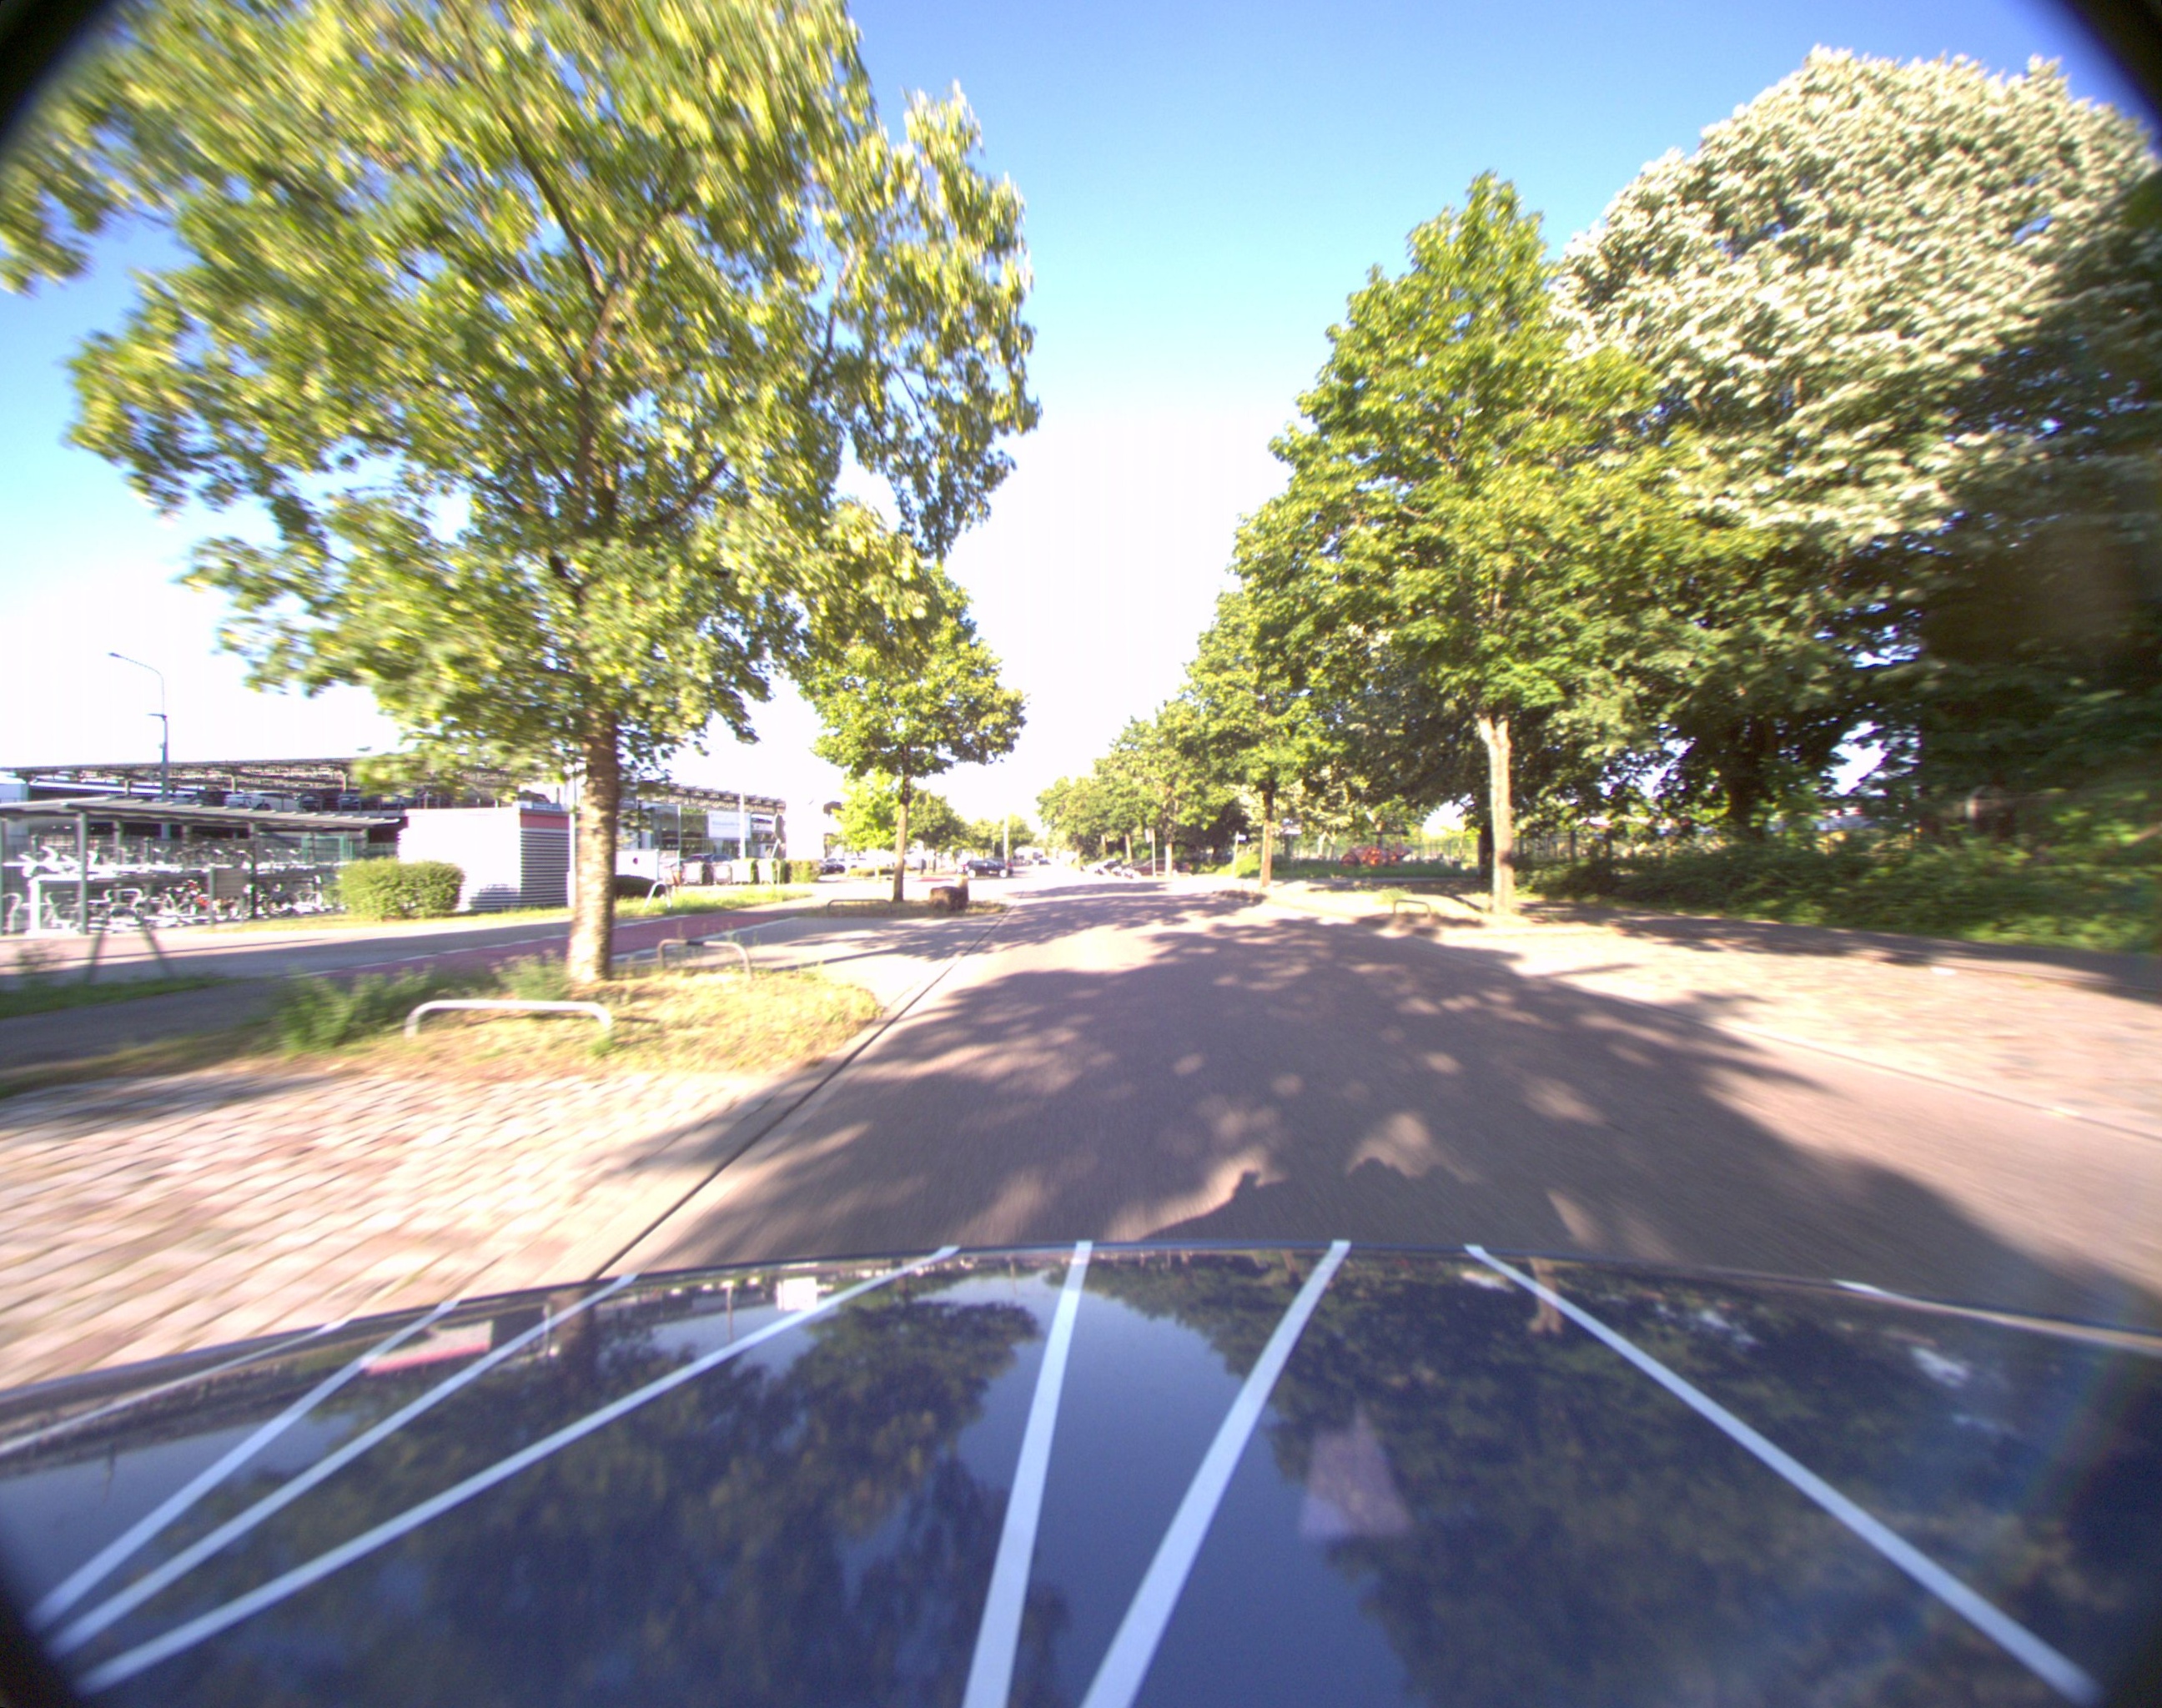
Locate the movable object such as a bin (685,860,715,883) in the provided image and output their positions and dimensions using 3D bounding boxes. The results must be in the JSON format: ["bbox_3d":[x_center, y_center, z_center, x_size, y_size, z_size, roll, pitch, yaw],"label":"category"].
[{"bbox_3d":[-21.285,0.953,42.422,1.120,1.260,1.038,-1,0,0],"label":"movable object such as a bin"}]

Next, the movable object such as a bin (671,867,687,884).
[{"bbox_3d":[-22.376,1.210,42.306,0.506,0.916,0.604,-1,0,3],"label":"movable object such as a bin"}]

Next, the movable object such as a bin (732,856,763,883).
[{"bbox_3d":[-18.377,0.831,41.851,1.213,1.475,1.038,-1,0,0],"label":"movable object such as a bin"}]

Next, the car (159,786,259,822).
[{"bbox_3d":[-61.586,-3.498,53.760,1.998,2.089,4.203,-3,0,5],"label":"car"}]

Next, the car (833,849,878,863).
[{"bbox_3d":[-26.257,0.249,88.369,4.614,1.565,1.995,1,0,-34],"label":"car"}]

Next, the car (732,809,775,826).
[{"bbox_3d":[-36.903,-4.127,85.749,3.995,1.656,1.788,-3,0,7],"label":"car"}]

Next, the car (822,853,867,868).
[{"bbox_3d":[-25.222,0.675,80.836,5.176,1.562,2.004,0,0,39],"label":"car"}]

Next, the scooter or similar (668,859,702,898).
[{"bbox_3d":[-13.460,0.826,25.849,0.521,1.264,1.200,-1,0,-1],"label":"scooter or similar"}]

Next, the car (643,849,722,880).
[{"bbox_3d":[-24.740,0.637,47.399,2.035,1.817,4.564,0,0,9],"label":"car"}]

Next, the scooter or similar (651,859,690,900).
[{"bbox_3d":[-13.171,0.789,24.405,0.521,1.264,1.387,0,0,-1],"label":"scooter or similar"}]

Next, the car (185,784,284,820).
[{"bbox_3d":[-59.342,-3.615,53.399,1.998,2.089,4.203,-3,0,5],"label":"car"}]

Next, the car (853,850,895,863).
[{"bbox_3d":[-25.847,0.359,94.901,4.614,1.565,1.995,1,0,-34],"label":"car"}]

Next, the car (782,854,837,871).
[{"bbox_3d":[-23.509,0.716,65.681,4.776,1.455,2.004,0,0,34],"label":"car"}]

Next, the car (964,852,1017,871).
[{"bbox_3d":[-8.355,0.705,70.675,4.708,1.741,2.191,-1,0,-3],"label":"car"}]

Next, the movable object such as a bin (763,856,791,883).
[{"bbox_3d":[-16.642,0.844,41.616,0.846,1.408,1.040,-2,0,26],"label":"movable object such as a bin"}]

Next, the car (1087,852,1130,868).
[{"bbox_3d":[2.946,0.667,82.269,4.299,1.522,1.999,-2,0,-6],"label":"car"}]

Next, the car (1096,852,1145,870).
[{"bbox_3d":[3.854,0.694,74.674,4.493,1.522,1.999,-2,0,-7],"label":"car"}]

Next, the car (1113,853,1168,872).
[{"bbox_3d":[5.234,0.707,67.179,4.493,1.453,1.999,-2,0,-7],"label":"car"}]

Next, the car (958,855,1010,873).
[{"bbox_3d":[-8.536,0.881,67.230,4.495,1.541,2.032,-1,0,-5],"label":"car"}]

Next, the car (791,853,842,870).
[{"bbox_3d":[-24.253,0.666,69.598,4.776,1.455,2.004,0,0,34],"label":"car"}]

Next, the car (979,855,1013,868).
[{"bbox_3d":[-11.689,1.027,104.376,4.606,1.575,1.998,1,0,-10],"label":"car"}]

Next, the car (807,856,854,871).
[{"bbox_3d":[-24.287,0.913,73.595,4.775,1.455,2.004,0,0,39],"label":"car"}]

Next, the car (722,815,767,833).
[{"bbox_3d":[-36.473,-3.206,82.361,3.995,1.656,1.788,-3,0,6],"label":"car"}]

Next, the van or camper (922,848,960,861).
[{"bbox_3d":[-31.199,0.162,169.531,7.991,2.883,2.948,0,0,24],"label":"van or camper"}]

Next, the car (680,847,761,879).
[{"bbox_3d":[-22.150,0.534,46.938,2.035,1.817,4.980,0,0,9],"label":"car"}]

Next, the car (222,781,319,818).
[{"bbox_3d":[-56.520,-3.760,53.108,1.998,2.089,4.203,-3,0,5],"label":"car"}]

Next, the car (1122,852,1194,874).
[{"bbox_3d":[5.741,0.650,57.221,5.050,1.453,1.999,-2,0,-7],"label":"car"}]

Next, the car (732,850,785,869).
[{"bbox_3d":[-32.262,0.533,76.099,4.795,1.763,1.996,0,0,-23],"label":"car"}]

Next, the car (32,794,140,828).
[{"bbox_3d":[-71.020,-3.017,54.334,1.998,2.089,4.203,-3,0,5],"label":"car"}]

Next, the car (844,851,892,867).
[{"bbox_3d":[-24.131,0.550,86.266,4.738,1.680,2.405,1,0,-34],"label":"car"}]

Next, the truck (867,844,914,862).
[{"bbox_3d":[-40.616,-0.218,162.164,10.092,3.623,3.302,0,0,28],"label":"truck"}]

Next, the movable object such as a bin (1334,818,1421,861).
[{"bbox_3d":[19.061,-0.883,49.011,2.169,2.649,4.790,-1,0,-42],"label":"movable object such as a bin"}]

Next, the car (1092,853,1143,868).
[{"bbox_3d":[3.683,0.649,77.176,4.866,1.522,1.998,-1,0,-10],"label":"car"}]

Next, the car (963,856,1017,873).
[{"bbox_3d":[-7.749,0.893,64.792,4.495,1.395,2.032,-1,0,-7],"label":"car"}]

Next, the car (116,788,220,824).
[{"bbox_3d":[-64.489,-3.352,53.780,1.998,2.089,4.203,-3,0,5],"label":"car"}]
